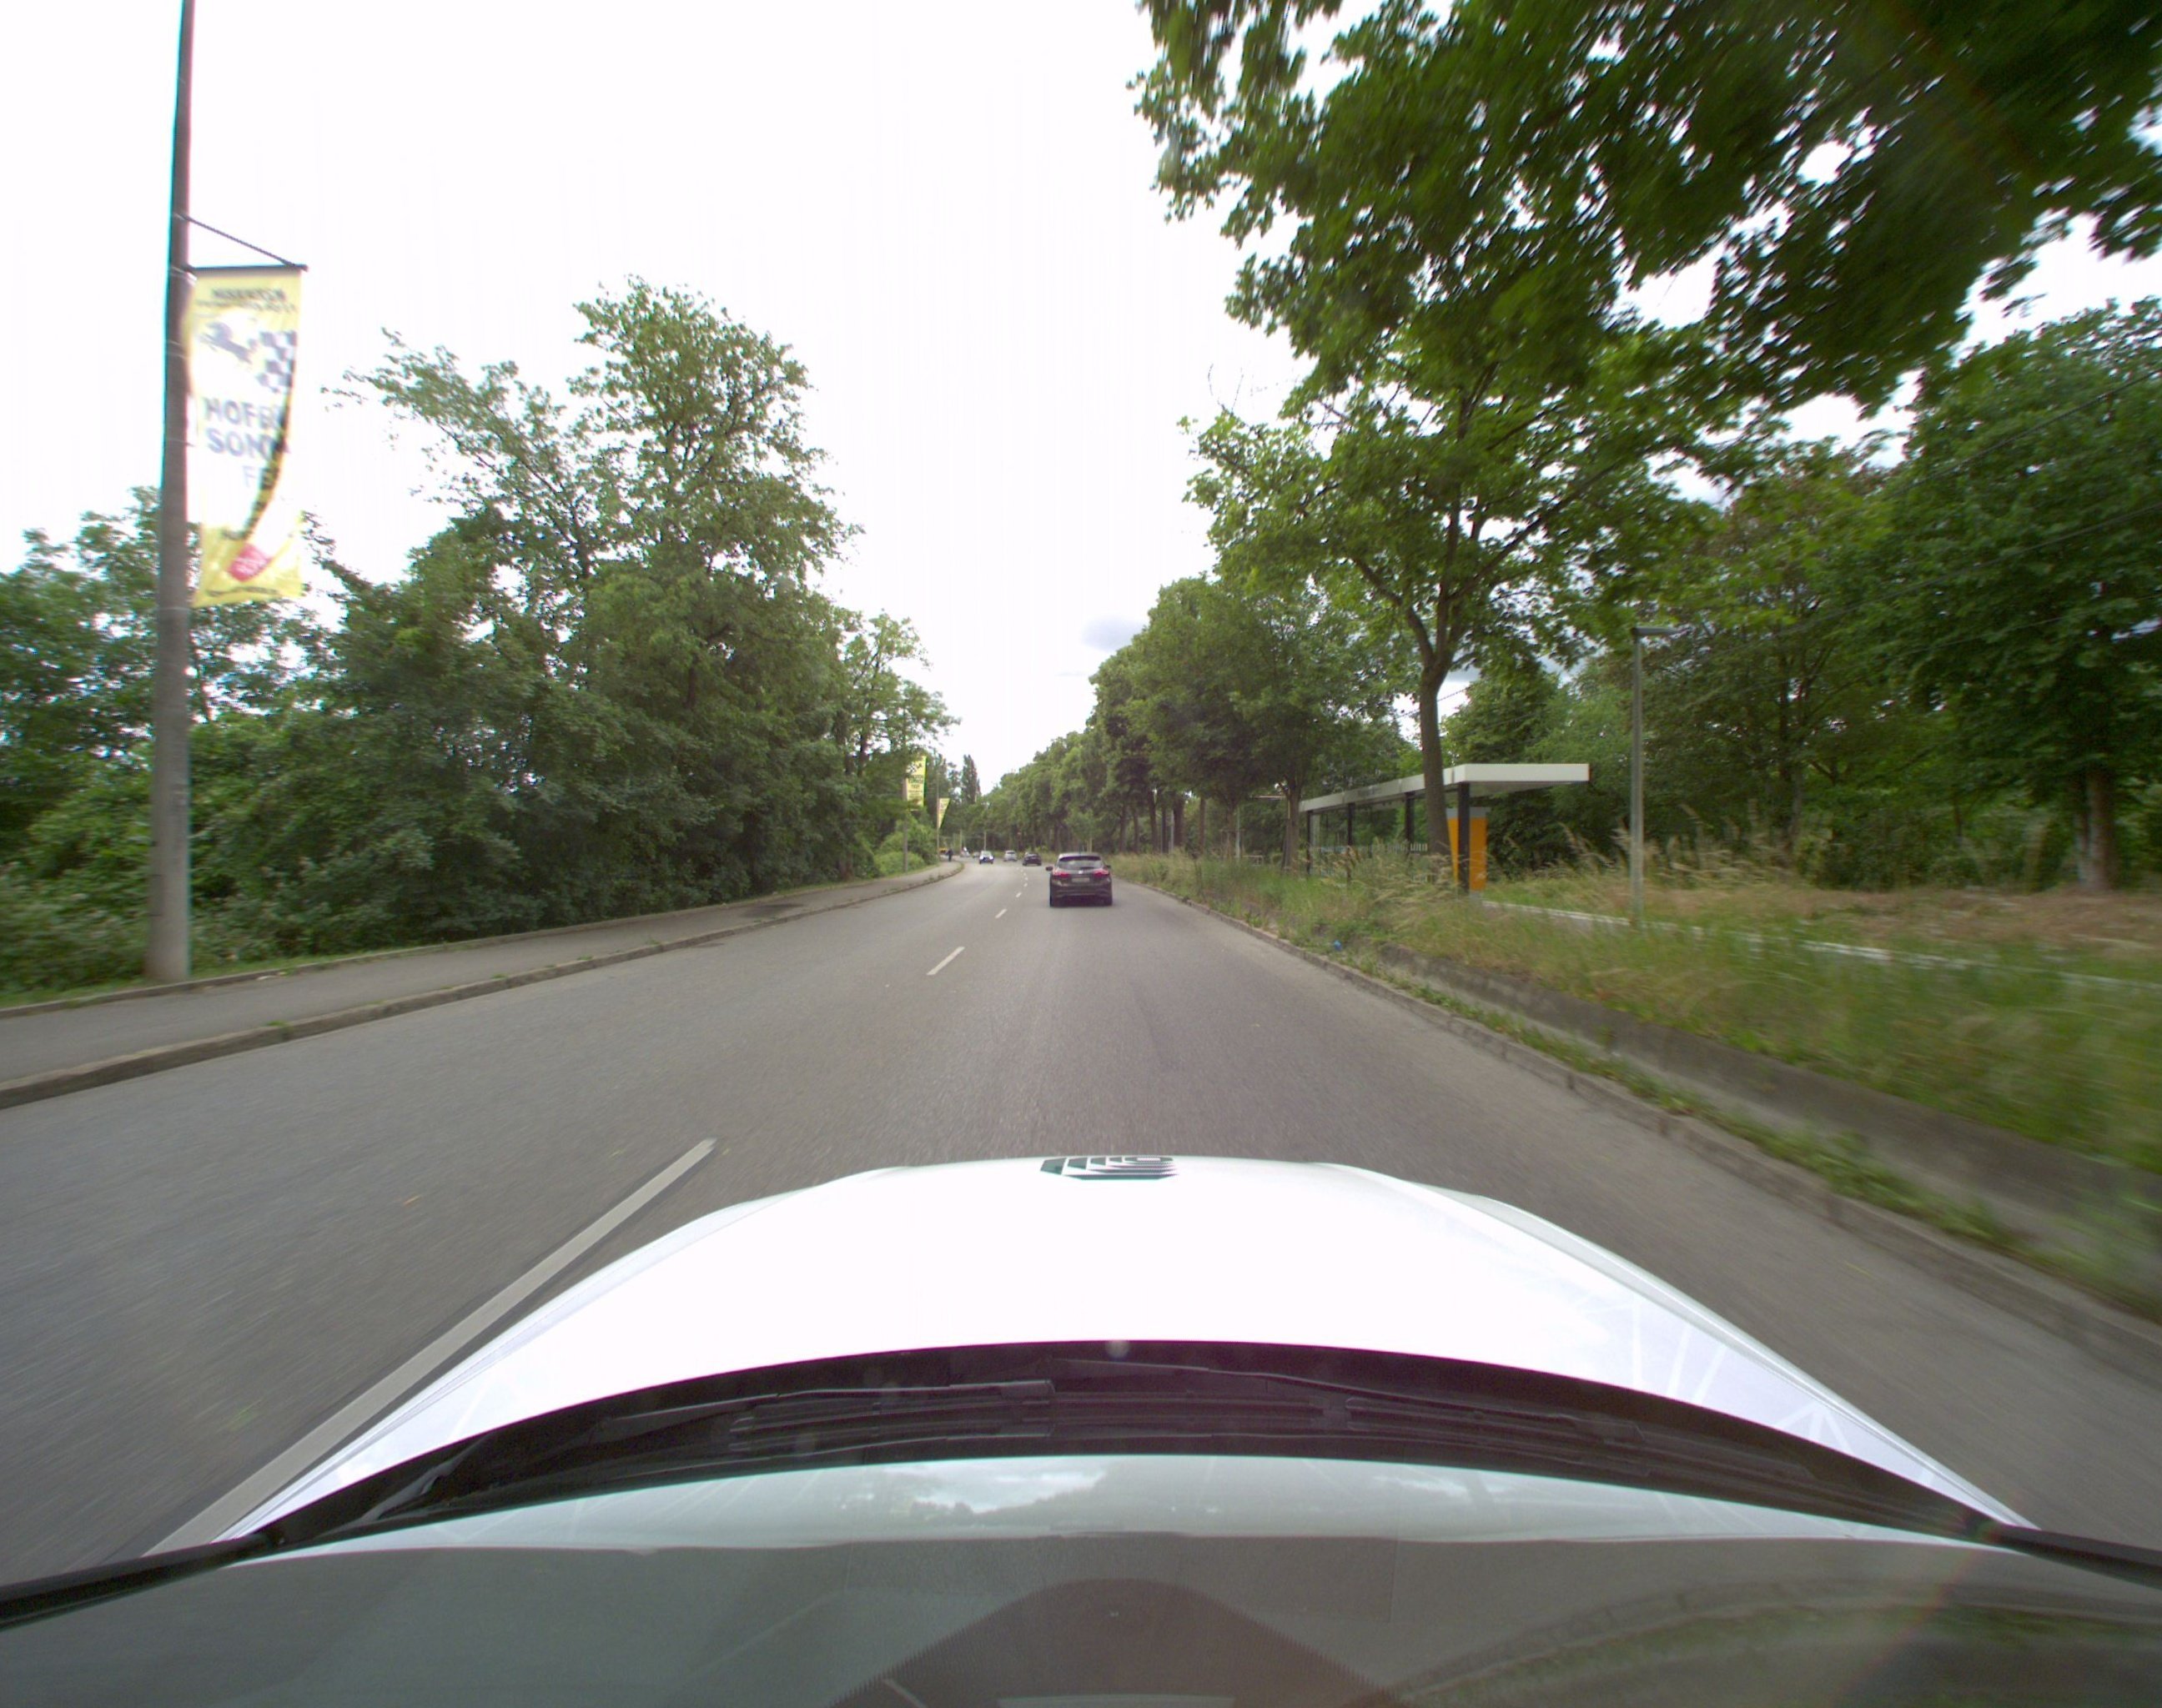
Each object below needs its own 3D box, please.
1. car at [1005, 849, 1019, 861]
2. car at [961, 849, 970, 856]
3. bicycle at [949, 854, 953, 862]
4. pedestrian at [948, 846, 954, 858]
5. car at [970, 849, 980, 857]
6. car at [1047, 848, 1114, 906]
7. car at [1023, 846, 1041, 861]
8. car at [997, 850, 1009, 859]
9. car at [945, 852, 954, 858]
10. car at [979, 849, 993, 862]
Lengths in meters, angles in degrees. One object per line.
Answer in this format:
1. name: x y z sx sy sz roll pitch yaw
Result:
1. car: -9.677 0.118 114.123 1.773 1.472 3.994 2 1 -4
2. car: -25.912 -0.284 182.713 1.776 1.472 3.985 2 1 -11
3. bicycle: -16.879 0.528 105.750 0.488 1.030 1.121 2 1 -9
4. pedestrian: -16.872 -0.296 105.774 0.617 1.571 0.847 2 0 -9
5. car: -21.008 -0.282 161.581 1.774 1.472 3.991 1 1 -7
6. car: -0.082 0.605 24.142 1.811 1.508 3.997 -1 1 -2
7. car: -5.090 -0.056 84.903 1.772 1.472 3.996 2 1 -3
8. car: -14.901 0.097 155.418 1.776 1.472 3.985 1 1 -11
9. car: -33.777 0.159 209.020 1.780 1.472 3.978 2 1 -17
10. car: -11.607 0.138 99.682 1.594 1.506 3.021 -1 0 -7
